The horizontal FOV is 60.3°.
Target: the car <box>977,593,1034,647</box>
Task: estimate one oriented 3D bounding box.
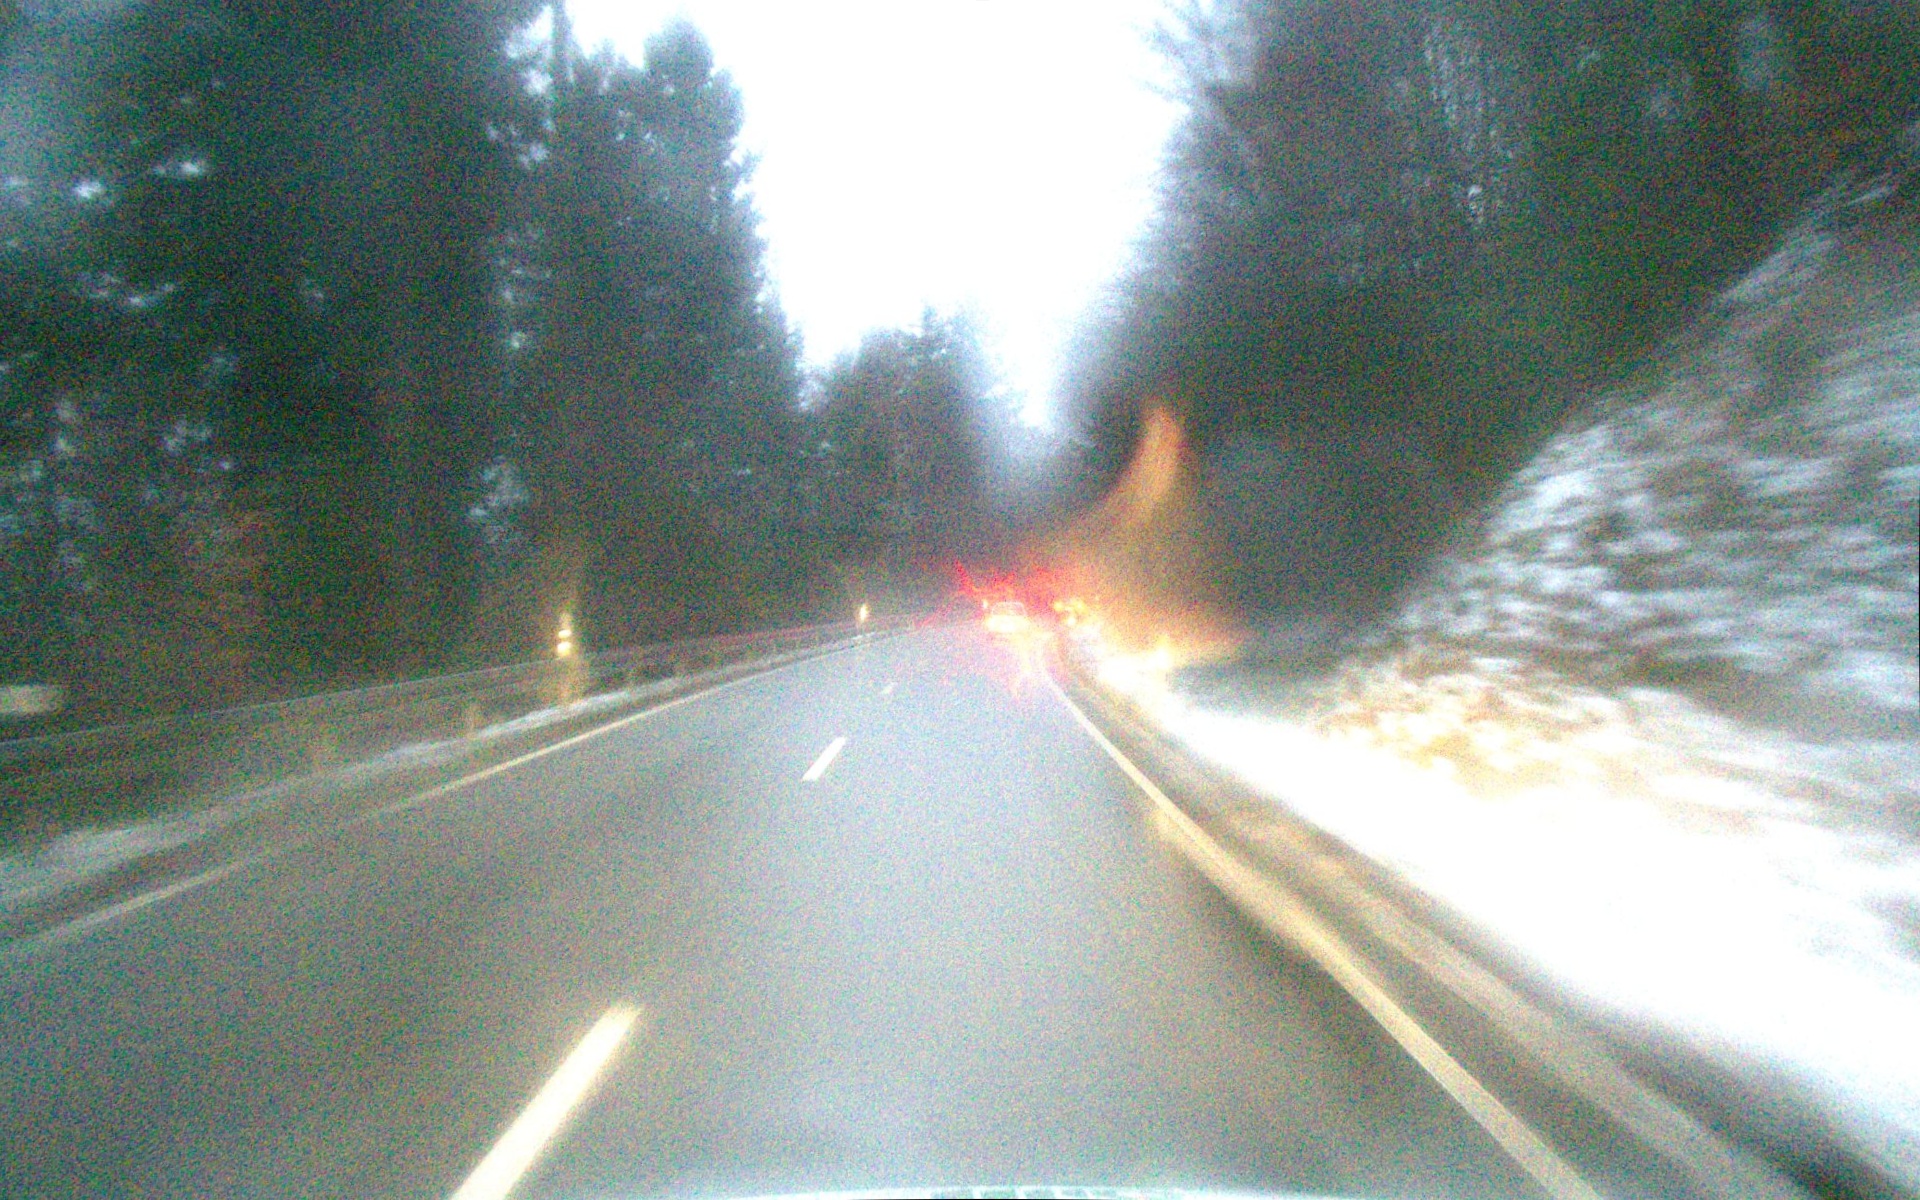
[{"bbox_3d":[1.787,0.737,63.685,1.952,1.905,4.002,-3,0,4],"label":"car"}]

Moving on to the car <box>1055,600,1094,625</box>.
[{"bbox_3d":[7.018,0.743,100.835,1.951,1.333,4.004,-3,0,9],"label":"car"}]
